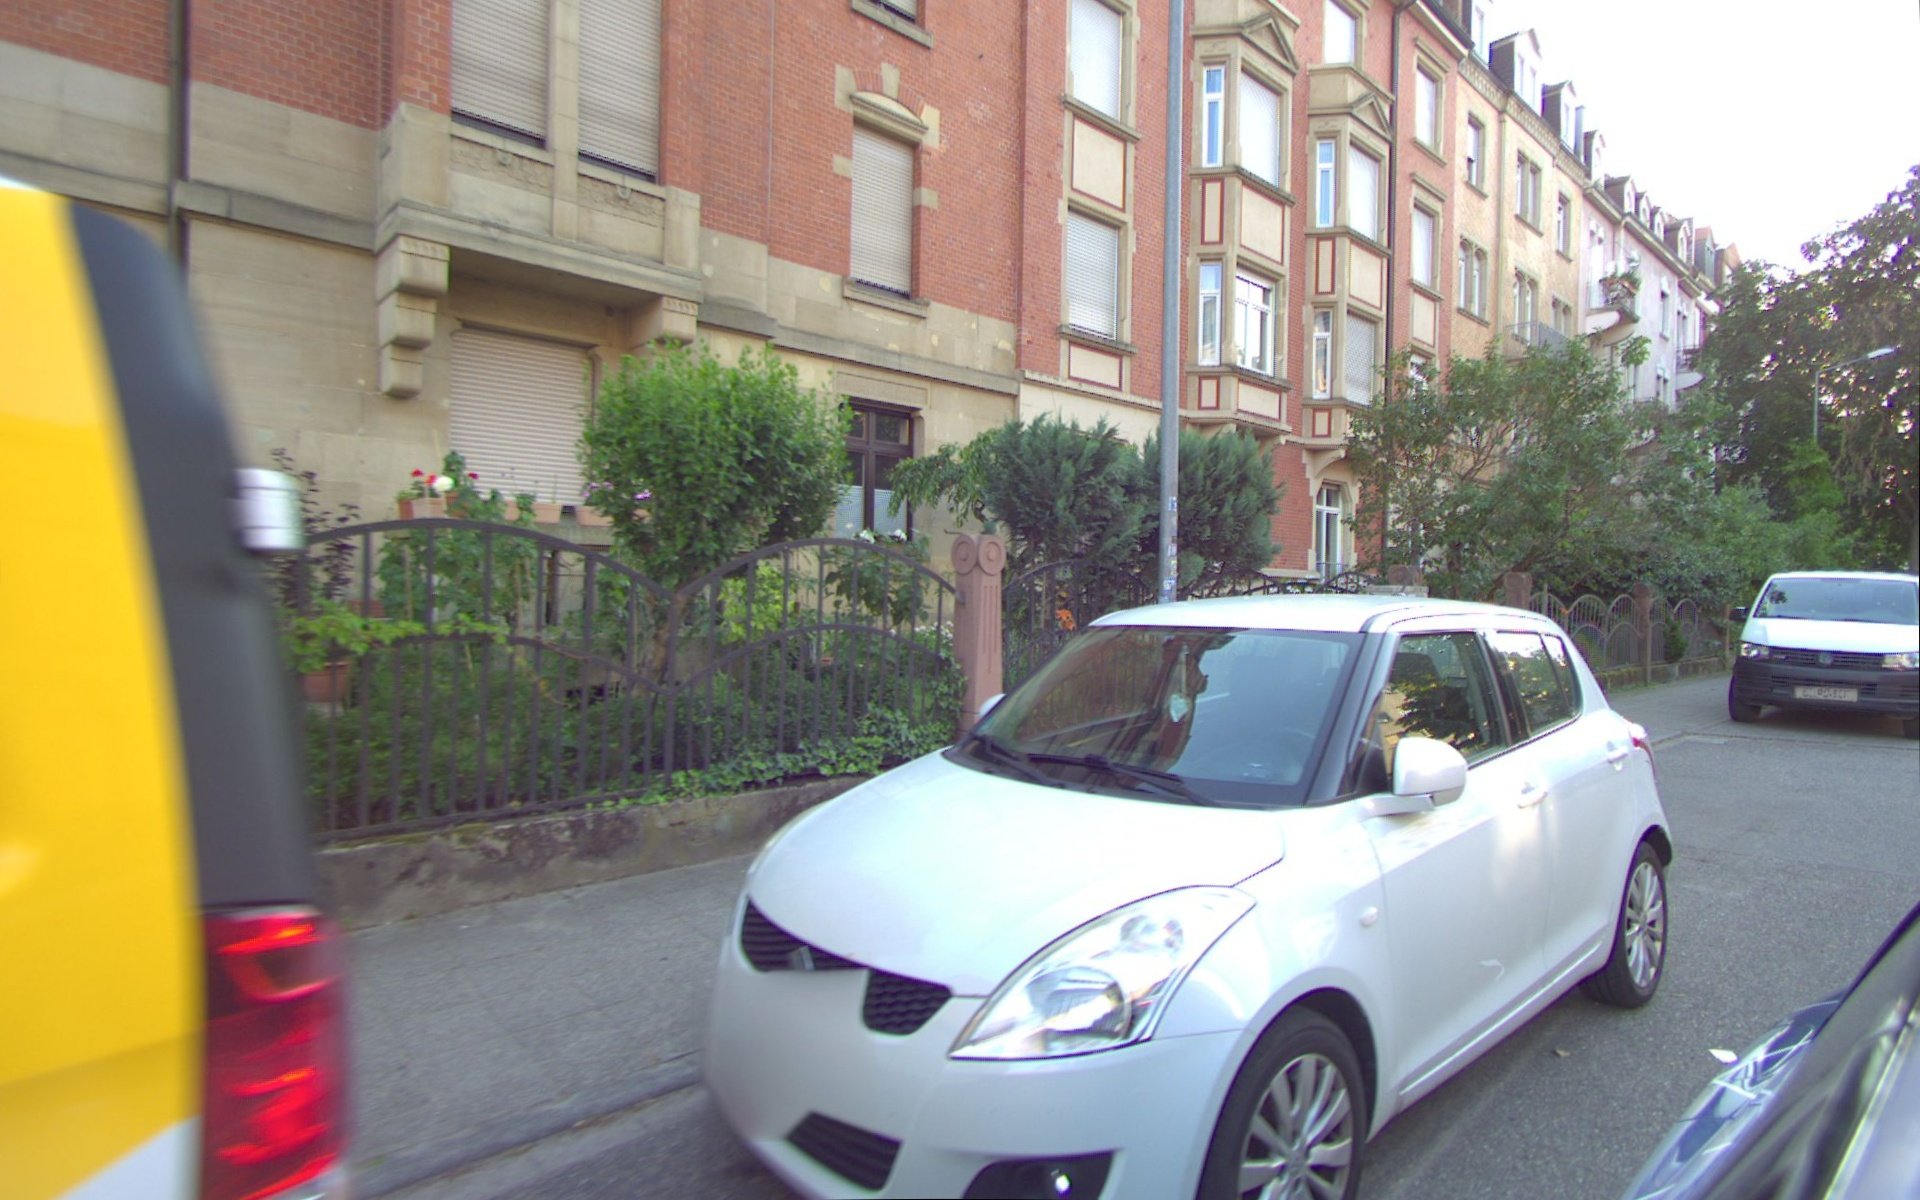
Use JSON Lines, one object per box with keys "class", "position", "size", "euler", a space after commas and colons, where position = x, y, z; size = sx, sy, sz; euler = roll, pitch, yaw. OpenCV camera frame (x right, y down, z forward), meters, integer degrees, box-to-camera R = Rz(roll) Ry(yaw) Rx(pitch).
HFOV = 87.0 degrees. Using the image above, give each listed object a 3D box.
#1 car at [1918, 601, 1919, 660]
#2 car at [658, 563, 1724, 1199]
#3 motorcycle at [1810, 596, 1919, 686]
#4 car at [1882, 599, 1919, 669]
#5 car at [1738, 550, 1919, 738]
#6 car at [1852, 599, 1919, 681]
{"class": "car", "position": [27.246, 0.804, 27.362], "size": [3.539, 1.544, 1.589], "euler": [0, 0, -40]}
{"class": "car", "position": [1.106, 0.679, 3.522], "size": [3.793, 1.496, 1.678], "euler": [0, 0, -40]}
{"class": "motorcycle", "position": [17.041, 0.743, 18.401], "size": [2.065, 1.500, 1.128], "euler": [3, 2, 15]}
{"class": "car", "position": [23.895, 0.776, 24.482], "size": [4.756, 1.602, 1.759], "euler": [0, 0, -41]}
{"class": "car", "position": [12.182, 0.463, 13.597], "size": [5.452, 2.064, 1.864], "euler": [0, 3, -44]}
{"class": "car", "position": [20.057, 0.774, 21.028], "size": [4.249, 1.570, 1.723], "euler": [0, 0, -41]}
